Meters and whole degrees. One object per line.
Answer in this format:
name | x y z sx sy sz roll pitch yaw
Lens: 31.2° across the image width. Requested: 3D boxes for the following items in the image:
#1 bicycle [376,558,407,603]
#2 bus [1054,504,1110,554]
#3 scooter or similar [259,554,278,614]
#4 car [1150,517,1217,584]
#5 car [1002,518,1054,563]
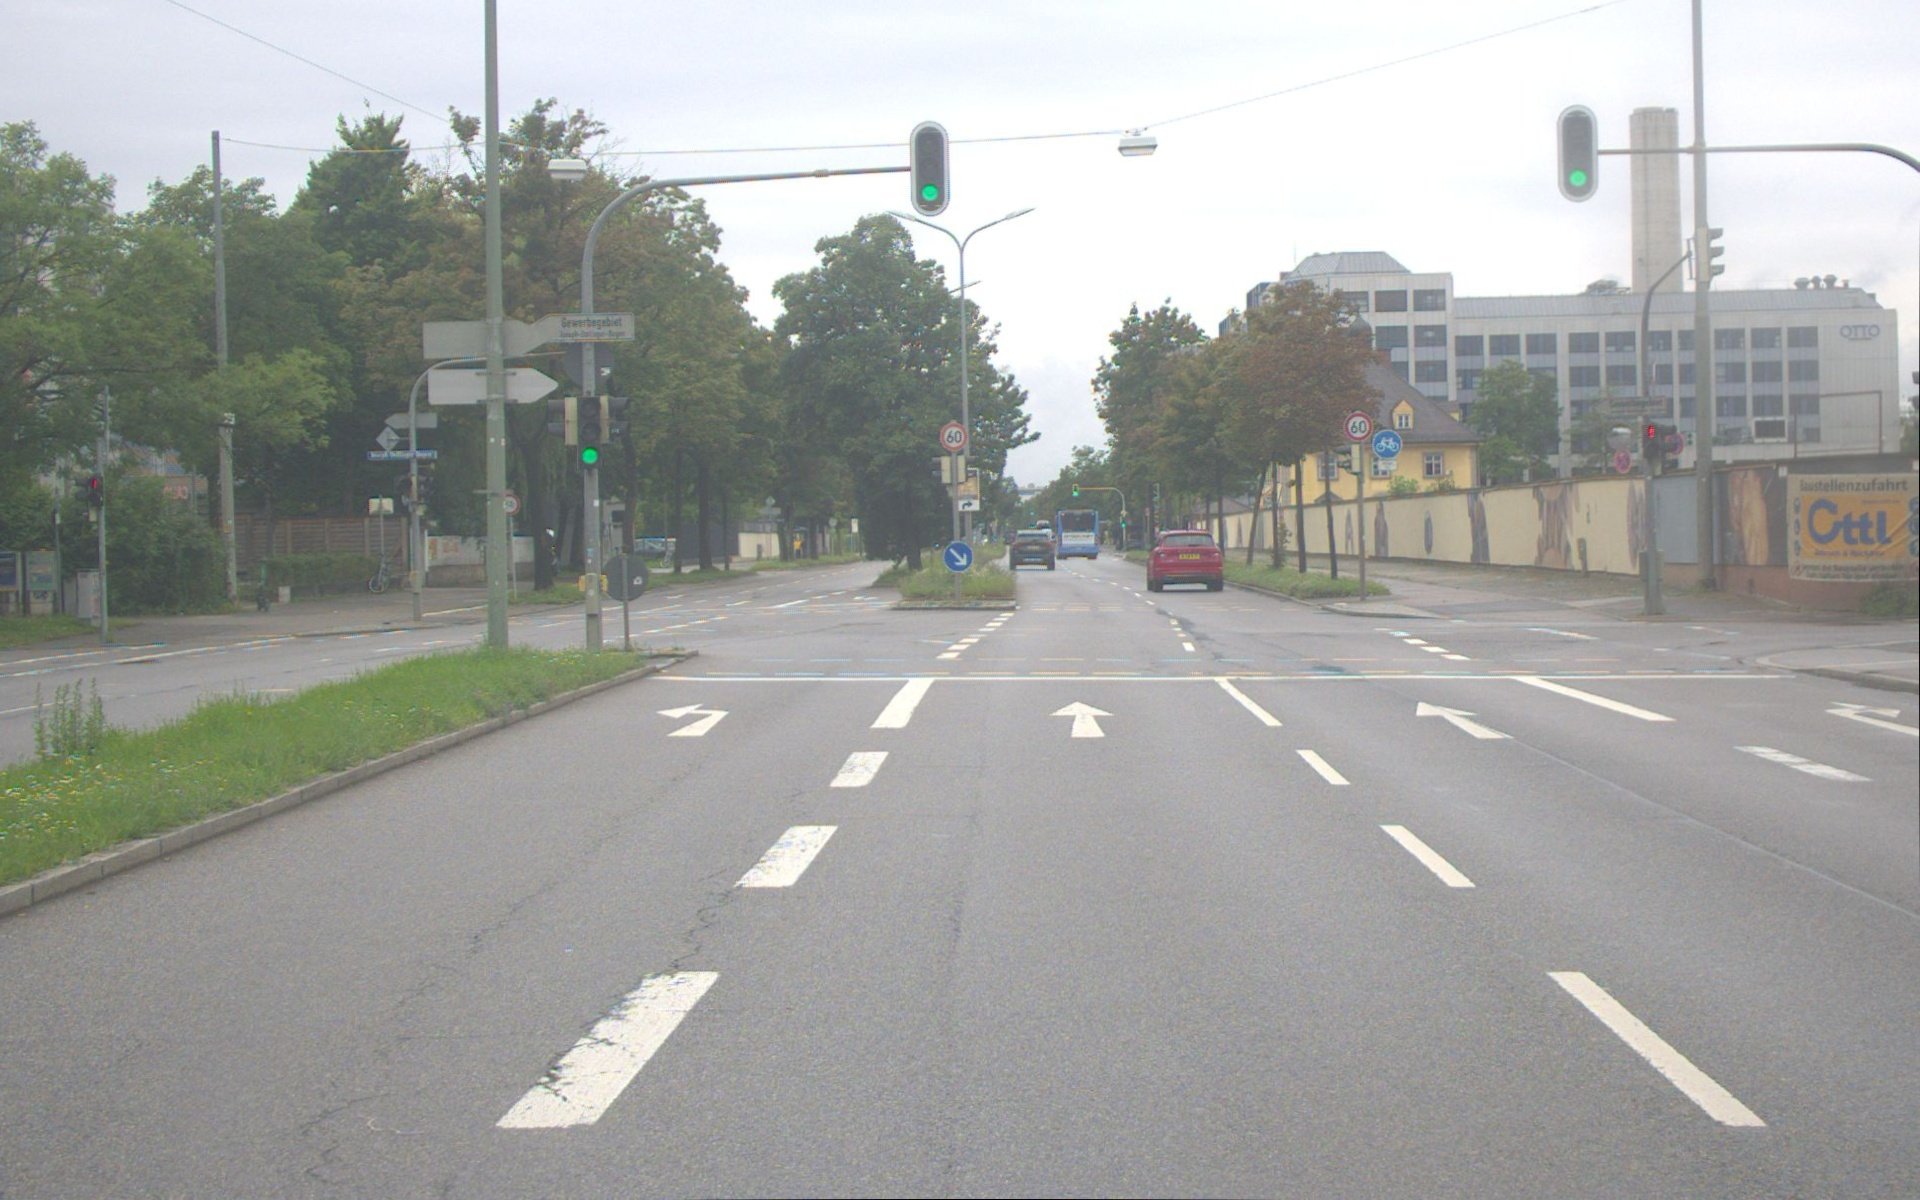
bicycle | -16.812 -0.588 101.692 0.582 1.291 2.454 0 1 -1
bus | 7.734 -4.491 219.349 3.220 3.116 10.345 0 1 0
scooter or similar | -16.554 -0.400 82.327 0.370 1.419 1.406 0 1 -14
car | 5.757 -1.281 88.926 1.484 1.710 3.551 0 1 0
car | 2.841 -2.503 144.522 2.084 1.859 4.386 0 1 0
